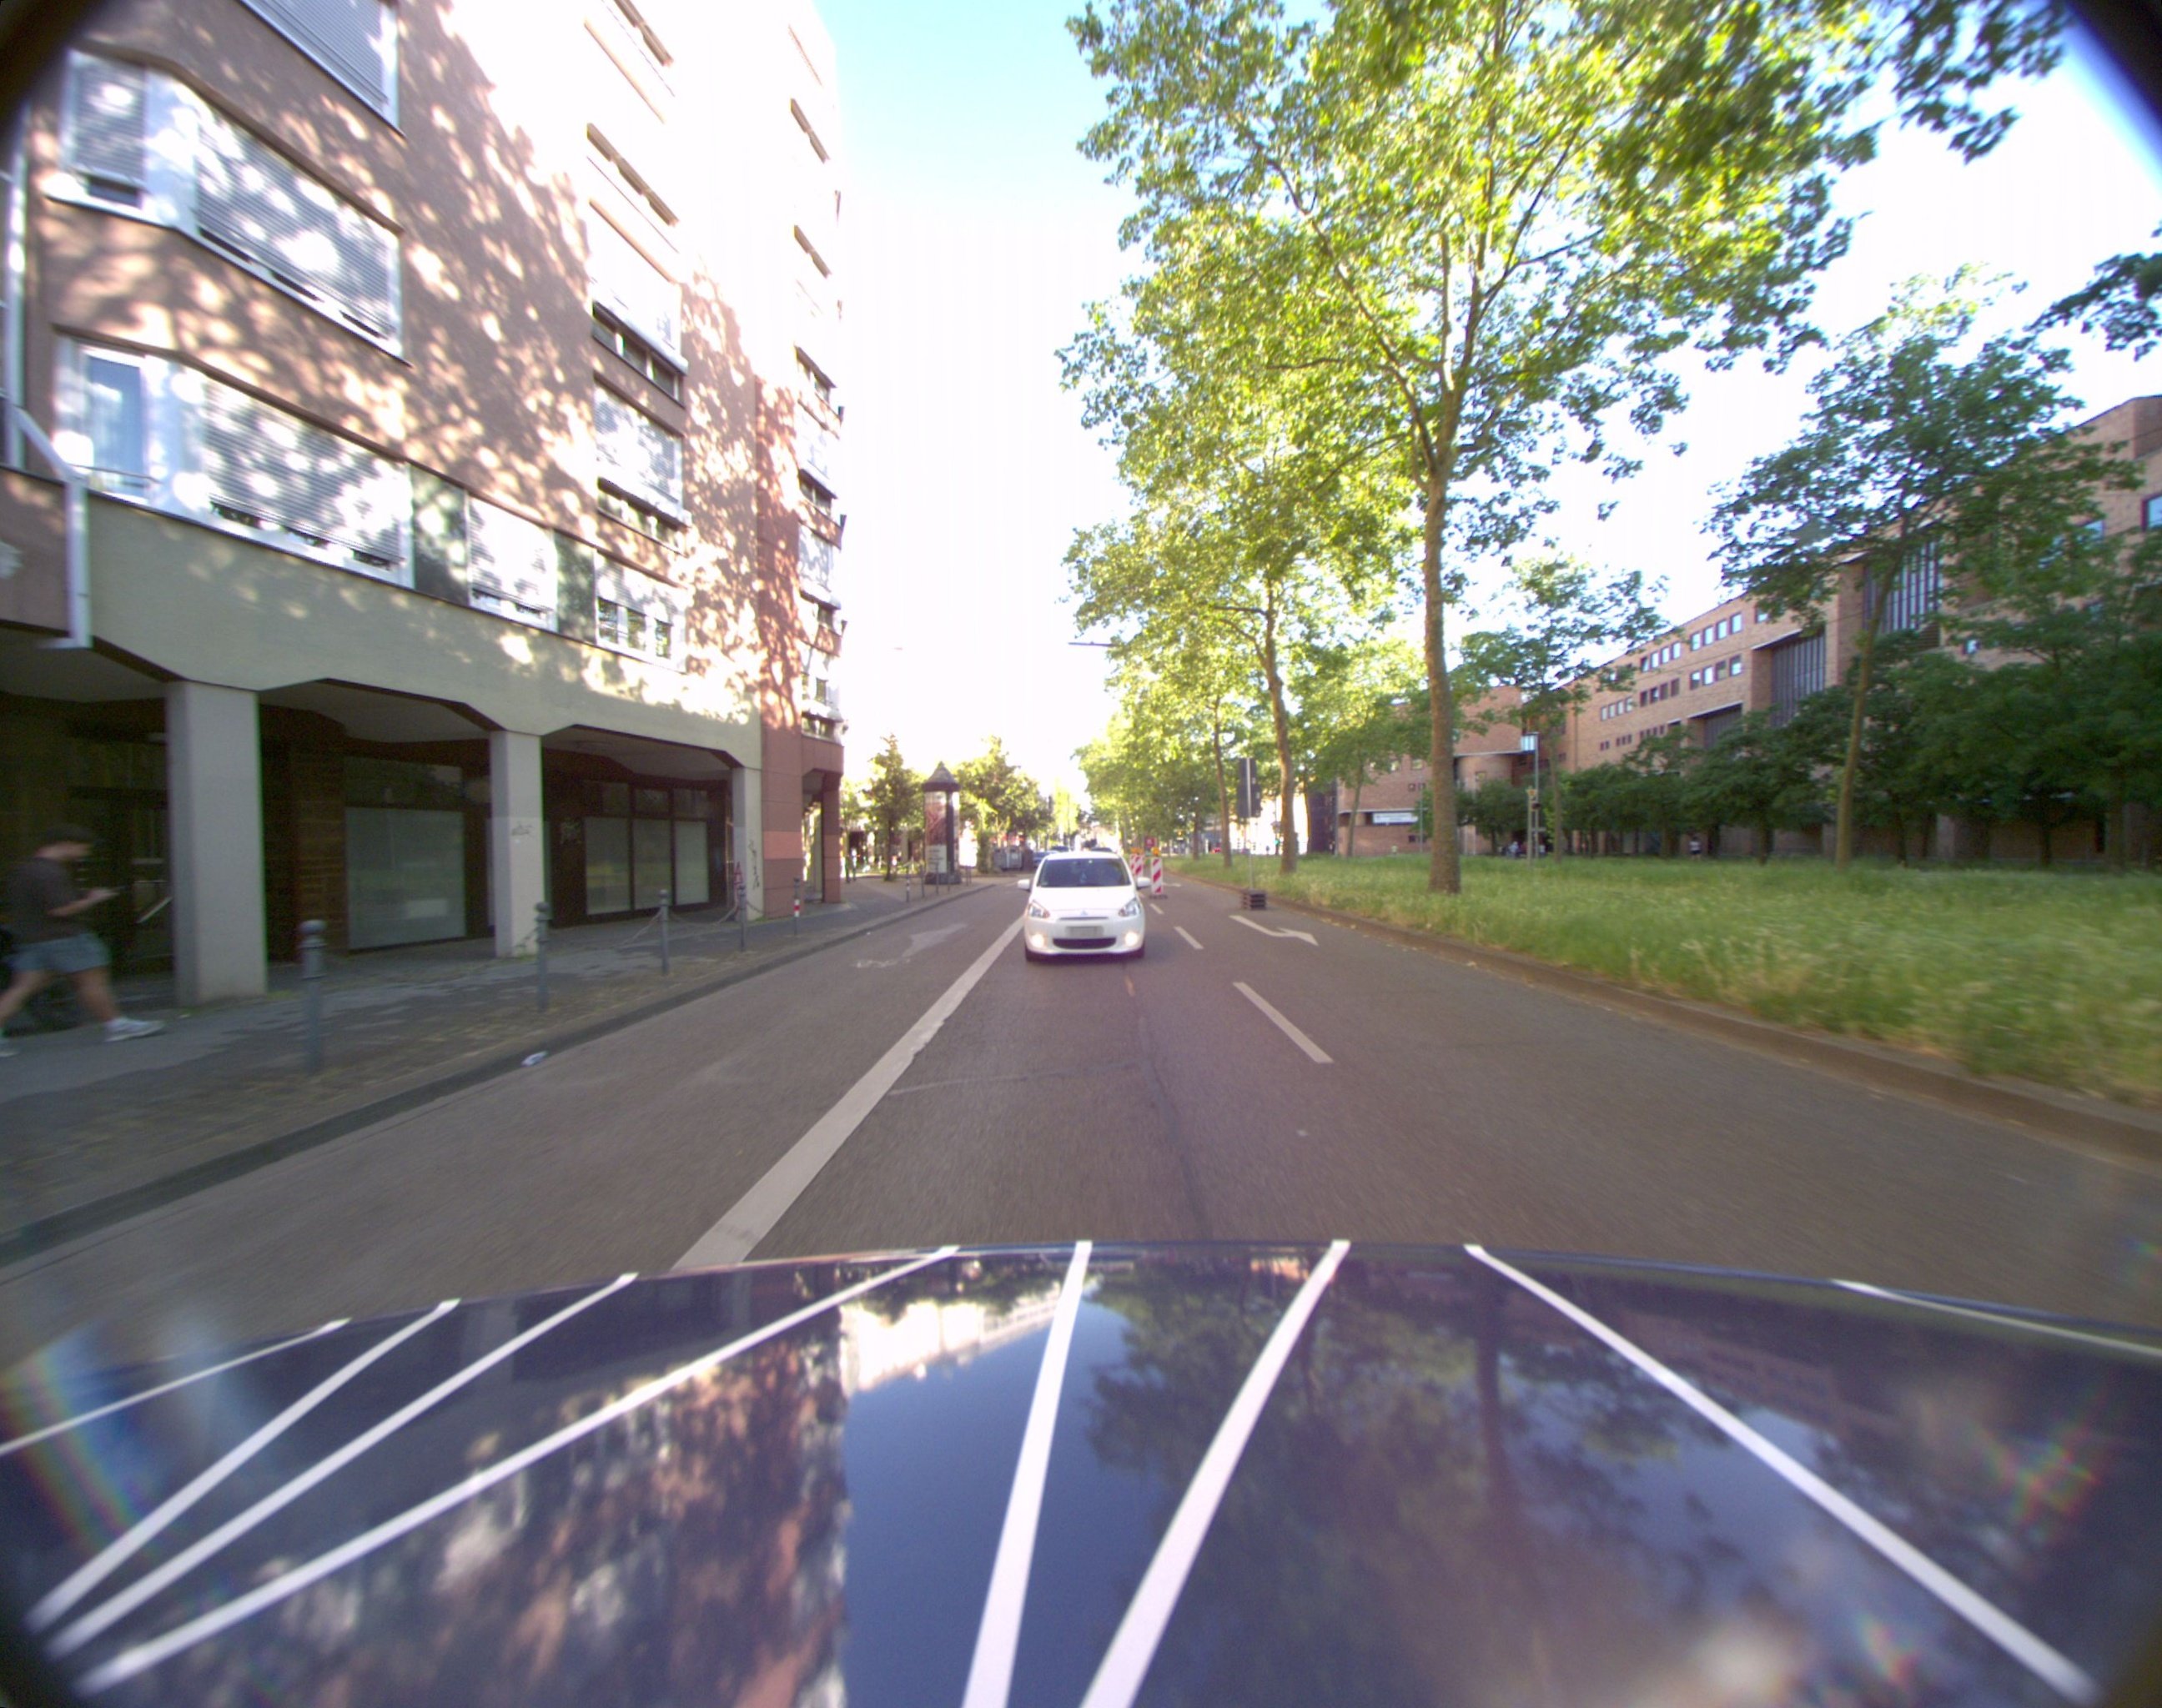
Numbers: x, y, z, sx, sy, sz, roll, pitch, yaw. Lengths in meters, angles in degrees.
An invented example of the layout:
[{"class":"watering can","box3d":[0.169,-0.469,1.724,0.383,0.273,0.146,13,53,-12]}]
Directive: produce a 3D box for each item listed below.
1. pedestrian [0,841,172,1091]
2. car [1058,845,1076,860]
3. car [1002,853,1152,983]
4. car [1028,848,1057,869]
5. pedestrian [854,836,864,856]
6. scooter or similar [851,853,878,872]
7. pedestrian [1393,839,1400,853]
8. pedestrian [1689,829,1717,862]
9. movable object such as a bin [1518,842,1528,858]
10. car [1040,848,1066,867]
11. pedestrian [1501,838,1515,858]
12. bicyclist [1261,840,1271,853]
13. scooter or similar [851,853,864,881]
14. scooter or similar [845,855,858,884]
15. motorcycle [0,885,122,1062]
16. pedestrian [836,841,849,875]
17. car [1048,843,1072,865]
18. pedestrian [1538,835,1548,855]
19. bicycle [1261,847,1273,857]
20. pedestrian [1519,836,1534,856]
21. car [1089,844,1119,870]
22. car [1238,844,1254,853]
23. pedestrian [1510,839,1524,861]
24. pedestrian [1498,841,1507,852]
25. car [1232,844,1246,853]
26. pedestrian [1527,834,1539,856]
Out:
[{"class":"pedestrian","box3d":[-7.748,0.777,5.714,0.782,1.728,0.837,-1,1,10]},{"class":"car","box3d":[-1.615,-0.207,87.689,1.802,1.714,4.460,1,1,2]},{"class":"car","box3d":[0.152,0.772,11.324,1.720,1.443,4.426,-3,0,6]},{"class":"car","box3d":[-2.858,0.316,57.195,1.706,1.475,4.249,0,1,4]},{"class":"pedestrian","box3d":[-21.256,-0.779,72.840,0.622,1.860,0.709,-1,1,3]},{"class":"scooter or similar","box3d":[-13.472,0.518,47.316,1.457,1.139,0.559,-1,1,7]},{"class":"pedestrian","box3d":[35.105,-0.864,84.535,0.417,1.535,0.653,-1,1,1]},{"class":"pedestrian","box3d":[35.160,-0.494,42.956,0.826,1.821,0.901,-1,1,-3]},{"class":"movable object such as a bin","box3d":[34.186,-0.322,58.794,0.356,1.272,0.756,-1,1,1]},{"class":"car","box3d":[-2.286,0.259,63.229,1.705,1.457,4.176,0,1,5]},{"class":"pedestrian","box3d":[34.300,-0.479,61.039,0.665,1.607,0.756,-1,1,0]},{"class":"bicyclist","box3d":[23.031,-0.939,94.408,0.943,1.562,1.209,-1,1,2]},{"class":"scooter or similar","box3d":[-10.697,0.606,36.338,0.486,1.267,1.448,-2,1,-18]},{"class":"scooter or similar","box3d":[-10.219,0.673,33.815,0.486,1.209,1.448,-2,1,-18]},{"class":"motorcycle","box3d":[-8.799,0.973,5.685,0.489,1.364,2.090,-1,1,2]},{"class":"pedestrian","box3d":[-14.056,0.244,44.836,0.642,1.970,0.775,-2,1,-16]},{"class":"car","box3d":[-1.912,-0.051,69.717,2.043,1.932,5.197,1,1,0]},{"class":"pedestrian","box3d":[35.924,-0.696,59.056,0.484,1.497,0.463,-1,1,4]},{"class":"bicycle","box3d":[23.044,-0.249,94.363,0.959,1.120,2.436,-1,1,2]},{"class":"pedestrian","box3d":[34.881,-0.633,59.507,0.665,1.607,0.756,-1,1,0]},{"class":"car","box3d":[1.506,0.168,49.823,1.824,1.630,4.000,-1,1,2]},{"class":"car","box3d":[25.777,-0.862,118.883,1.675,1.421,4.149,-1,1,0]},{"class":"pedestrian","box3d":[34.166,-0.318,59.582,0.665,1.712,0.796,-1,1,0]},{"class":"pedestrian","box3d":[46.403,-0.868,83.626,0.666,1.191,0.630,-1,1,-8]},{"class":"car","box3d":[25.846,-0.917,124.519,1.617,1.421,3.221,-1,1,0]},{"class":"pedestrian","box3d":[35.474,-0.708,59.628,0.612,1.670,0.596,-1,1,0]}]
